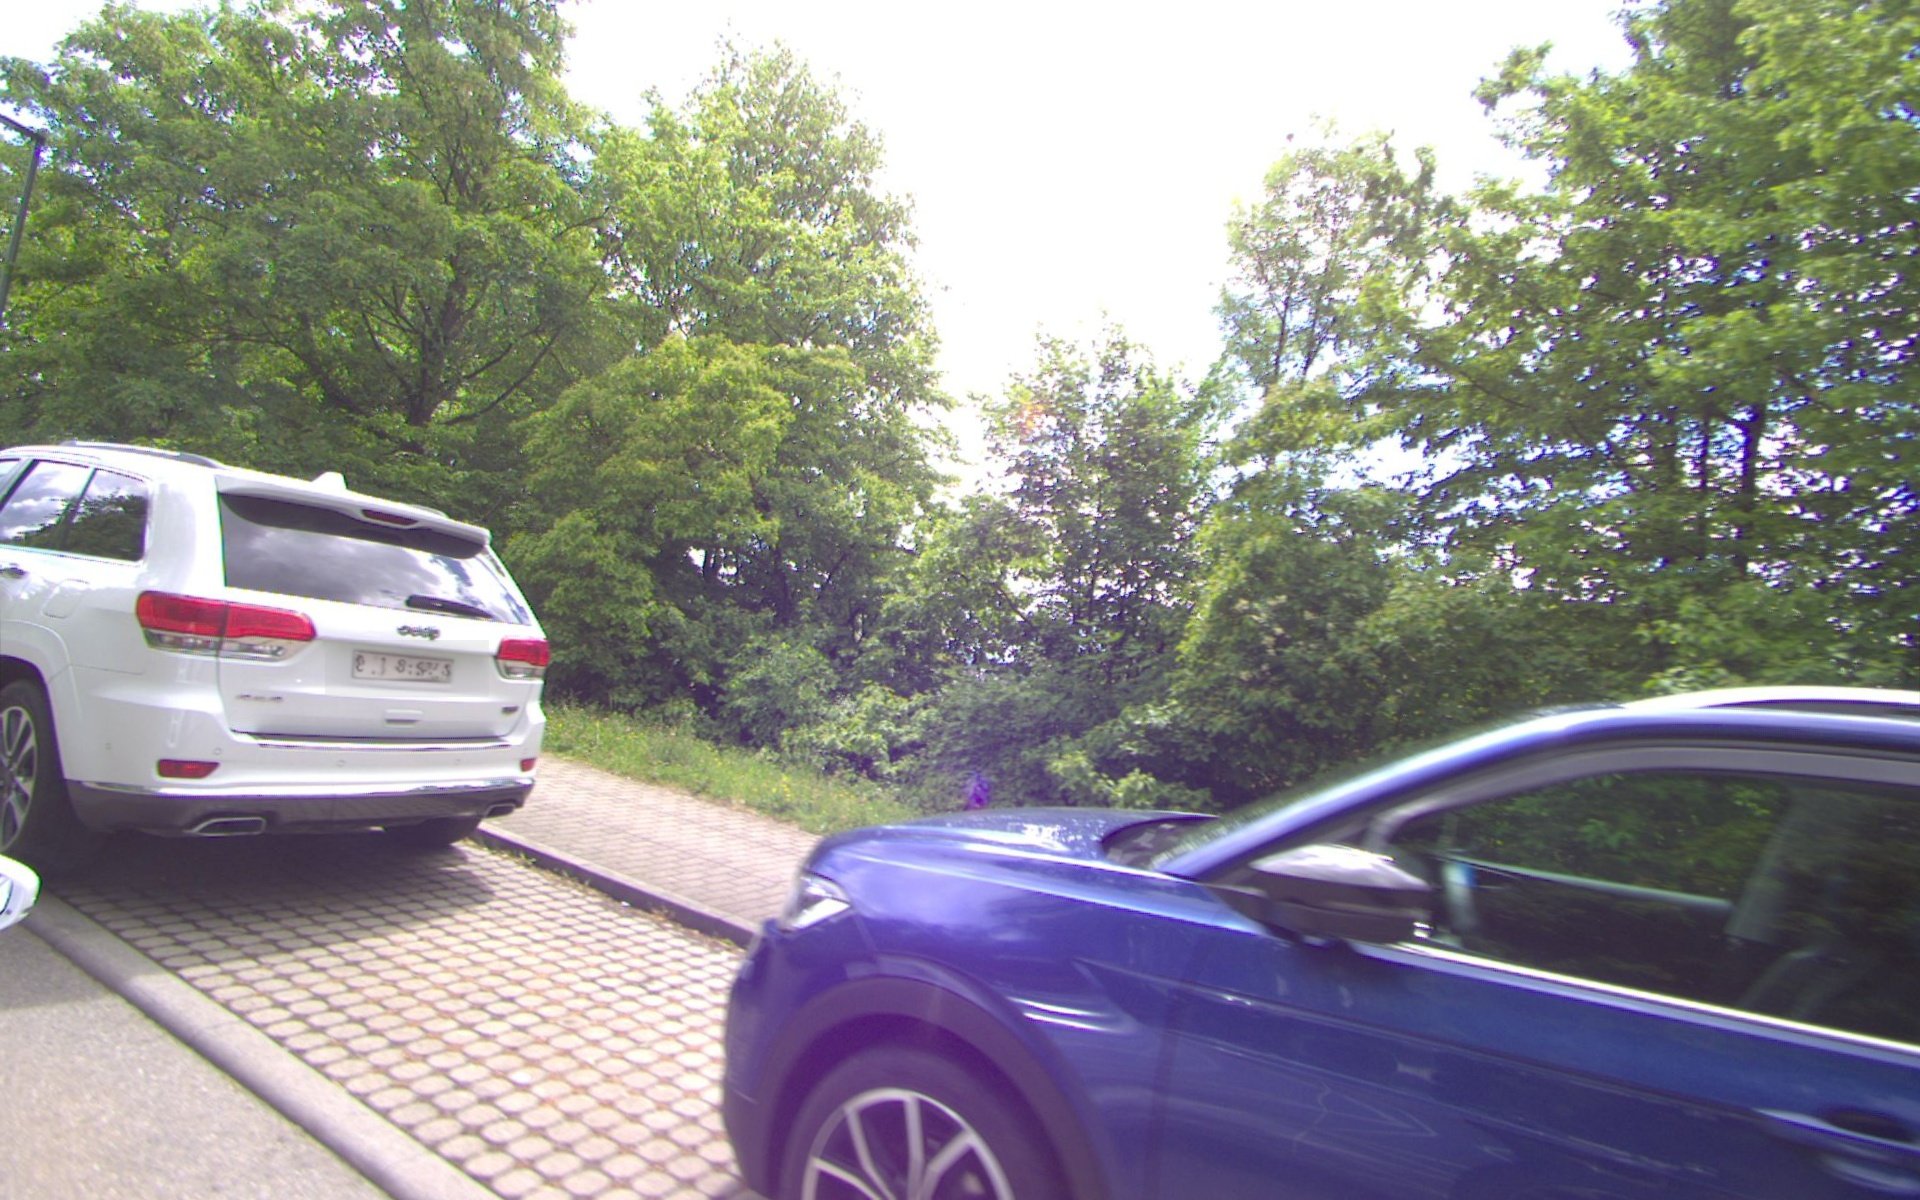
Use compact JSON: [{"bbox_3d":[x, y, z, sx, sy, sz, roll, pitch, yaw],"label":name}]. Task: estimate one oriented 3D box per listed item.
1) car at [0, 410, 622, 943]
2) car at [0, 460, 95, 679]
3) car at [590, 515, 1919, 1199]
[{"bbox_3d":[-4.173,0.128,5.188,4.500,1.706,1.879,8,-4,29],"label":"car"},{"bbox_3d":[-9.318,-0.534,8.131,4.203,1.645,1.999,8,0,28],"label":"car"},{"bbox_3d":[1.394,0.927,1.984,3.932,1.608,1.717,7,-4,30],"label":"car"}]
